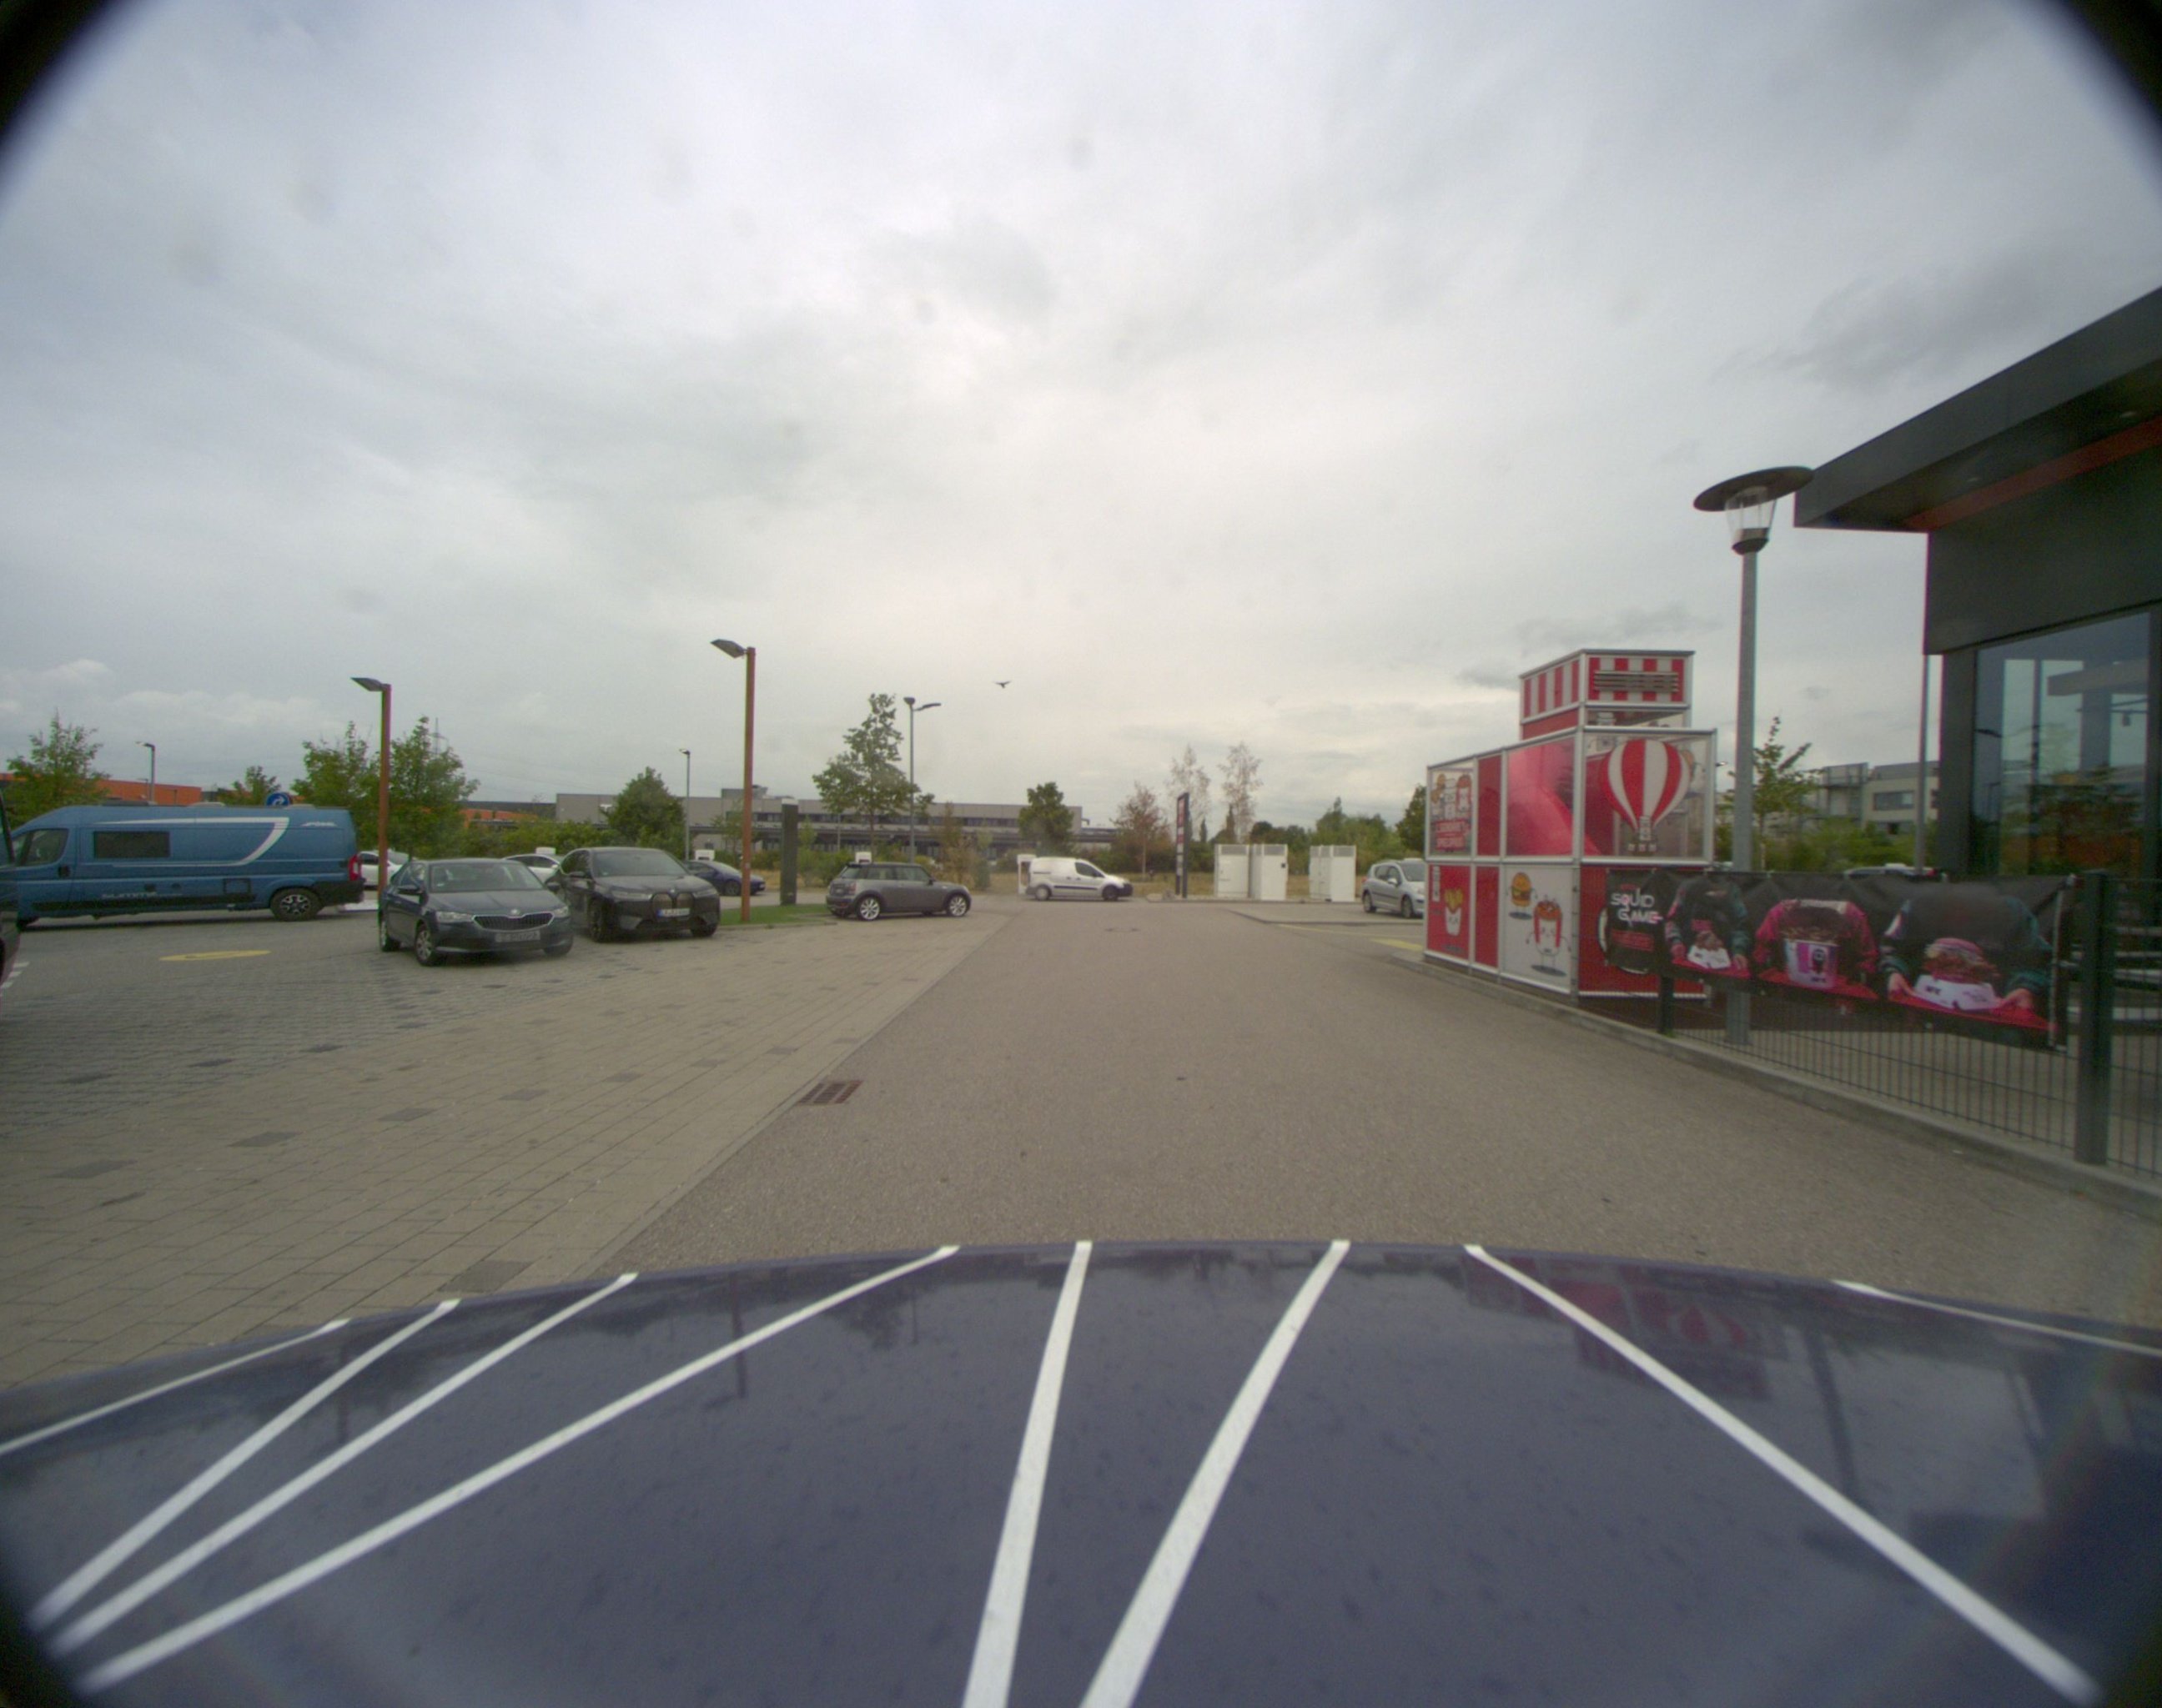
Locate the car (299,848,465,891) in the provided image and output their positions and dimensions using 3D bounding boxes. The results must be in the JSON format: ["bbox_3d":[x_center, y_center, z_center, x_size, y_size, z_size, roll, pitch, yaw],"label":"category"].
[{"bbox_3d":[-28.890,0.626,31.527,4.941,1.592,2.073,1,0,0],"label":"car"}]

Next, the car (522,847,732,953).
[{"bbox_3d":[-8.871,0.762,14.643,4.882,1.717,2.005,0,-1,41],"label":"car"}]

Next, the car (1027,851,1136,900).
[{"bbox_3d":[0.015,0.893,31.282,4.334,1.876,1.946,1,-1,-1],"label":"car"}]

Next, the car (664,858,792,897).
[{"bbox_3d":[-14.542,0.944,31.467,4.452,1.450,1.834,1,1,2],"label":"car"}]

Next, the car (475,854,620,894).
[{"bbox_3d":[-21.922,0.801,31.390,4.475,1.544,2.073,1,0,-2],"label":"car"}]

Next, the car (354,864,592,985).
[{"bbox_3d":[-9.152,0.898,11.351,3.988,1.403,1.836,1,1,37],"label":"car"}]

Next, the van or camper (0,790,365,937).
[{"bbox_3d":[-19.337,0.159,15.654,6.587,2.685,2.166,-1,1,-42],"label":"van or camper"}]

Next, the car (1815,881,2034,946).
[{"bbox_3d":[20.576,1.393,18.774,1.431,1.386,3.685,1,-1,3],"label":"car"}]

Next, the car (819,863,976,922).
[{"bbox_3d":[-4.653,0.966,19.484,3.535,1.368,1.605,2,-2,-41],"label":"car"}]

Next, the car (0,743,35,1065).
[{"bbox_3d":[-7.767,0.390,3.913,6.992,2.538,2.077,0,1,42],"label":"car"}]

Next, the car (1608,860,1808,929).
[{"bbox_3d":[16.468,0.994,20.324,1.584,1.607,4.486,1,0,-1],"label":"car"}]

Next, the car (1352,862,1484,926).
[{"bbox_3d":[8.884,0.985,20.414,1.628,1.496,4.168,1,0,-1],"label":"car"}]
